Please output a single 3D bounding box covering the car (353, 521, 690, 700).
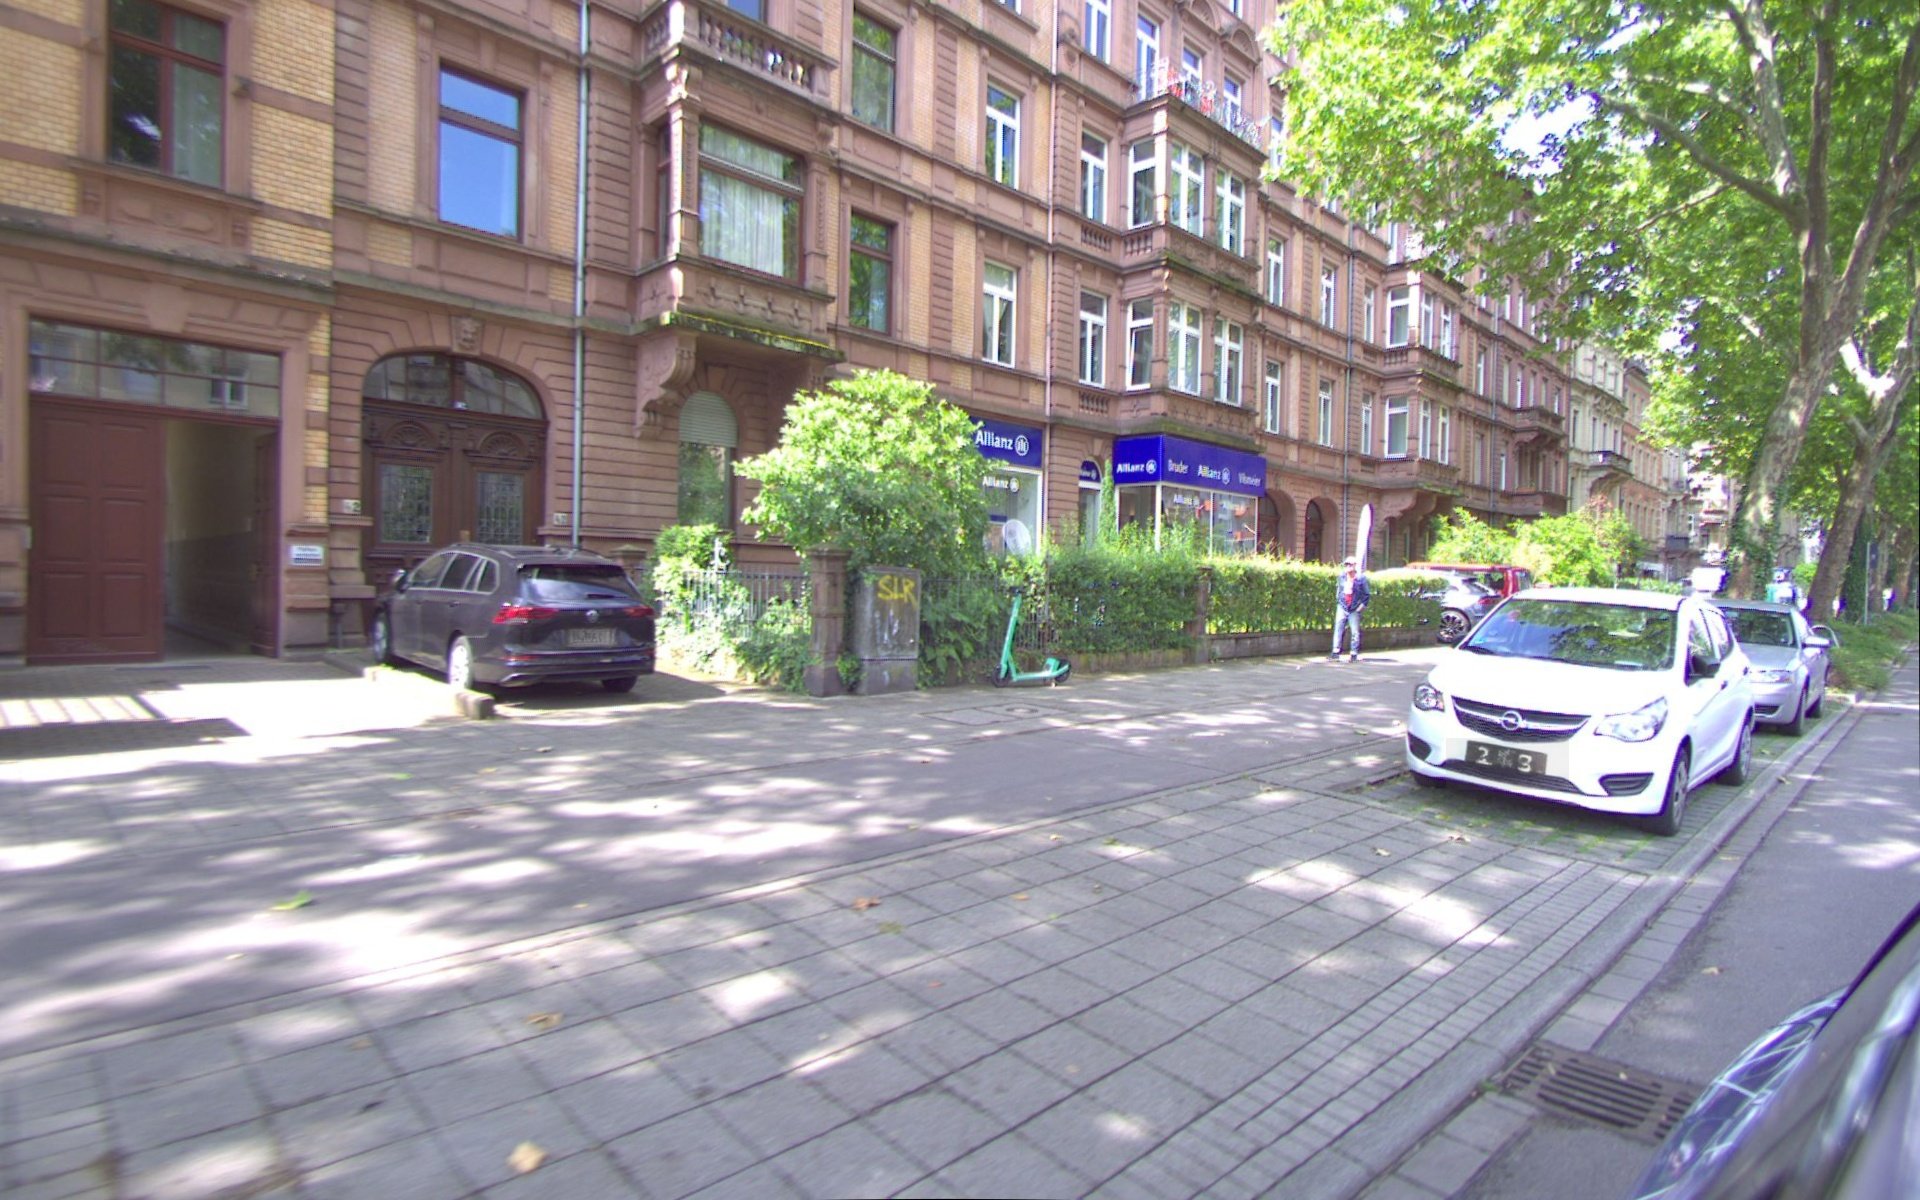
[{"bbox_3d":[-4.790,-0.036,10.713,1.910,1.487,4.240,0,3,-44],"label":"car"}]

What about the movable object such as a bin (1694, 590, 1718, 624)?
[{"bbox_3d":[28.634,0.256,38.818,0.607,1.224,1.043,5,3,40],"label":"movable object such as a bin"}]

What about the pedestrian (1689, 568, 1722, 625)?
[{"bbox_3d":[28.130,-0.135,38.179,0.763,2.038,1.103,5,3,41],"label":"pedestrian"}]

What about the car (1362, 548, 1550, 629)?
[{"bbox_3d":[14.335,-0.374,29.414,1.951,1.962,4.403,1,4,-44],"label":"car"}]

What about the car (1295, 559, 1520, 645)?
[{"bbox_3d":[10.978,-0.023,24.988,4.712,1.804,1.978,4,2,38],"label":"car"}]

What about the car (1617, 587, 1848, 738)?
[{"bbox_3d":[9.294,0.613,12.064,1.679,1.462,3.796,3,2,45],"label":"car"}]

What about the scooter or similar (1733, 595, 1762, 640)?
[{"bbox_3d":[22.211,0.487,28.534,0.467,1.226,1.302,2,1,45],"label":"scooter or similar"}]

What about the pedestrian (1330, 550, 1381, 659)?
[{"bbox_3d":[6.737,0.066,17.247,0.620,1.808,0.564,0,1,-45],"label":"pedestrian"}]

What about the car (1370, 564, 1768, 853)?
[{"bbox_3d":[4.602,0.559,7.401,1.555,1.503,3.796,6,4,45],"label":"car"}]
